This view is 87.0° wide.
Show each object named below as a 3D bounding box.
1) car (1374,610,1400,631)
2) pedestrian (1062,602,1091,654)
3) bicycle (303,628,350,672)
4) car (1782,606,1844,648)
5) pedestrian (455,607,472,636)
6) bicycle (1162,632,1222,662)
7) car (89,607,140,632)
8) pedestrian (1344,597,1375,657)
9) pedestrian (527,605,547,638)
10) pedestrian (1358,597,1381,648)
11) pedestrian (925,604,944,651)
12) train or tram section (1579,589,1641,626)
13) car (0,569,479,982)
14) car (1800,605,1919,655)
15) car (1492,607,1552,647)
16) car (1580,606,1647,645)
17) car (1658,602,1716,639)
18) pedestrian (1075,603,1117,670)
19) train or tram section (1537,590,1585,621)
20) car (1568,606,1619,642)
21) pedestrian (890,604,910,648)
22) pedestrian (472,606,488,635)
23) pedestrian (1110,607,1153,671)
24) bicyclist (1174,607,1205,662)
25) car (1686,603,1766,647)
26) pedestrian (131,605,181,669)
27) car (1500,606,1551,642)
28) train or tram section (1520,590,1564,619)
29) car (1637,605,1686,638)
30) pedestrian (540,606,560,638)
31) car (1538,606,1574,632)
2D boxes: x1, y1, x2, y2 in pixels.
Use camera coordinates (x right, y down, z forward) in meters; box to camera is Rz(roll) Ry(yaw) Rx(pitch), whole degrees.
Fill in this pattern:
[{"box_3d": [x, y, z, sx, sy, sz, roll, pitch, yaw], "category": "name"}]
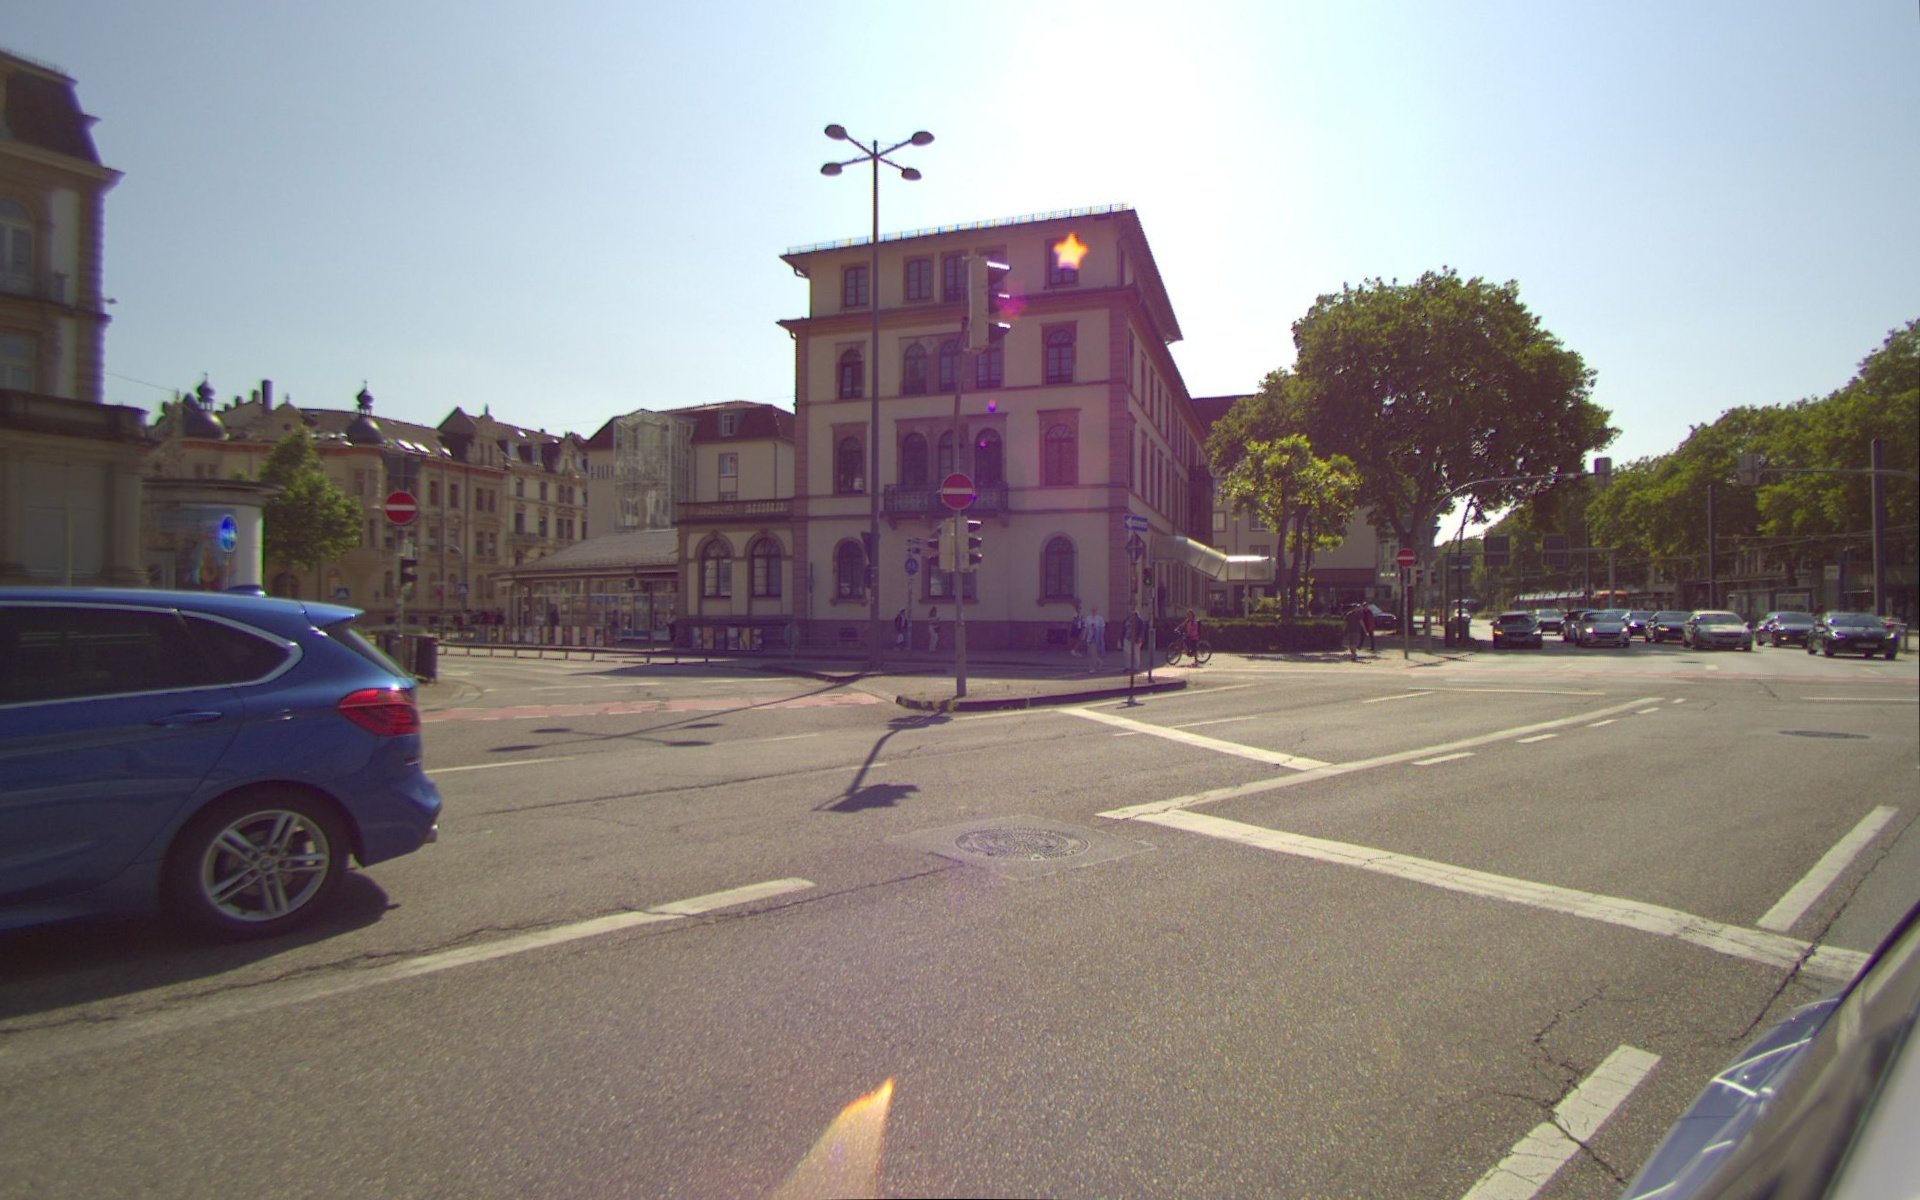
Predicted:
[{"box_3d": [28.434, 1.368, 67.392, 1.573, 1.339, 3.551, 0, -1, 23], "category": "car"}, {"box_3d": [3.911, 0.915, 33.872, 0.832, 1.717, 0.740, 0, -1, 17], "category": "pedestrian"}, {"box_3d": [-17.448, 1.368, 27.862, 1.810, 1.113, 0.498, 1, 0, 37], "category": "bicycle"}, {"box_3d": [34.285, 1.052, 40.652, 1.785, 1.536, 3.913, 1, 0, 42], "category": "car"}, {"box_3d": [-28.333, 1.229, 57.713, 0.706, 1.624, 0.723, 1, -1, -39], "category": "pedestrian"}, {"box_3d": [6.957, 1.405, 30.387, 1.708, 0.866, 0.594, 0, -1, -21], "category": "bicycle"}, {"box_3d": [-57.395, 1.290, 68.713, 3.846, 1.628, 1.856, -1, -1, 37], "category": "car"}, {"box_3d": [12.537, 0.834, 31.786, 0.714, 1.869, 0.592, 0, -1, -4], "category": "pedestrian"}, {"box_3d": [-21.108, 1.088, 50.485, 0.707, 1.624, 0.722, 1, -2, -45], "category": "pedestrian"}, {"box_3d": [14.975, 0.806, 37.000, 0.718, 1.828, 0.647, -1, -1, 25], "category": "pedestrian"}, {"box_3d": [-0.914, 0.993, 36.346, 0.529, 1.670, 0.575, -1, -1, 22], "category": "pedestrian"}, {"box_3d": [61.872, 0.740, 96.579, 2.698, 3.309, 8.686, -1, -1, 18], "category": "train or tram section"}, {"box_3d": [-4.498, 0.680, 4.236, 4.197, 1.561, 1.721, 1, -2, -41], "category": "car"}, {"box_3d": [29.291, 0.928, 32.971, 1.772, 1.470, 4.246, 1, 0, 23], "category": "car"}, {"box_3d": [23.234, 1.078, 41.935, 1.773, 1.470, 3.941, 1, 0, 24], "category": "car"}, {"box_3d": [26.718, 1.009, 41.491, 1.774, 1.470, 3.939, 1, 0, 25], "category": "car"}, {"box_3d": [32.368, 0.874, 45.122, 1.778, 1.542, 3.929, 1, 0, 32], "category": "car"}, {"box_3d": [3.474, 0.908, 25.776, 0.750, 1.681, 0.818, -1, -1, 38], "category": "pedestrian"}, {"box_3d": [67.076, 0.616, 113.133, 2.698, 3.309, 8.686, -1, -1, 18], "category": "train or tram section"}, {"box_3d": [29.909, 1.096, 47.875, 1.776, 1.549, 3.933, 1, 0, 29], "category": "car"}, {"box_3d": [-2.291, 0.992, 38.488, 0.529, 1.670, 0.669, -1, -1, 22], "category": "pedestrian"}, {"box_3d": [-27.826, 1.186, 58.673, 0.706, 1.624, 0.723, 1, -1, -40], "category": "pedestrian"}, {"box_3d": [4.348, 0.962, 25.629, 0.769, 1.592, 0.818, -1, -1, 39], "category": "pedestrian"}, {"box_3d": [6.892, 1.027, 30.367, 0.670, 1.627, 0.594, 0, -1, -21], "category": "bicyclist"}, {"box_3d": [28.831, 0.920, 38.209, 1.705, 1.519, 4.445, 1, 0, 28], "category": "car"}, {"box_3d": [-22.553, 1.026, 28.395, 0.806, 1.762, 0.750, 0, -1, 4], "category": "pedestrian"}, {"box_3d": [26.337, 1.074, 47.216, 1.774, 1.544, 3.939, 1, 0, 25], "category": "car"}, {"box_3d": [69.713, 0.555, 121.418, 2.698, 3.309, 8.686, -1, -1, 18], "category": "train or tram section"}, {"box_3d": [35.319, 1.041, 51.061, 1.778, 1.542, 3.929, 1, 0, 32], "category": "car"}, {"box_3d": [-20.649, 1.105, 50.943, 0.707, 1.624, 0.722, 1, -2, -44], "category": "pedestrian"}, {"box_3d": [36.727, 1.126, 62.305, 1.779, 1.470, 3.928, 1, 0, 32], "category": "car"}]
